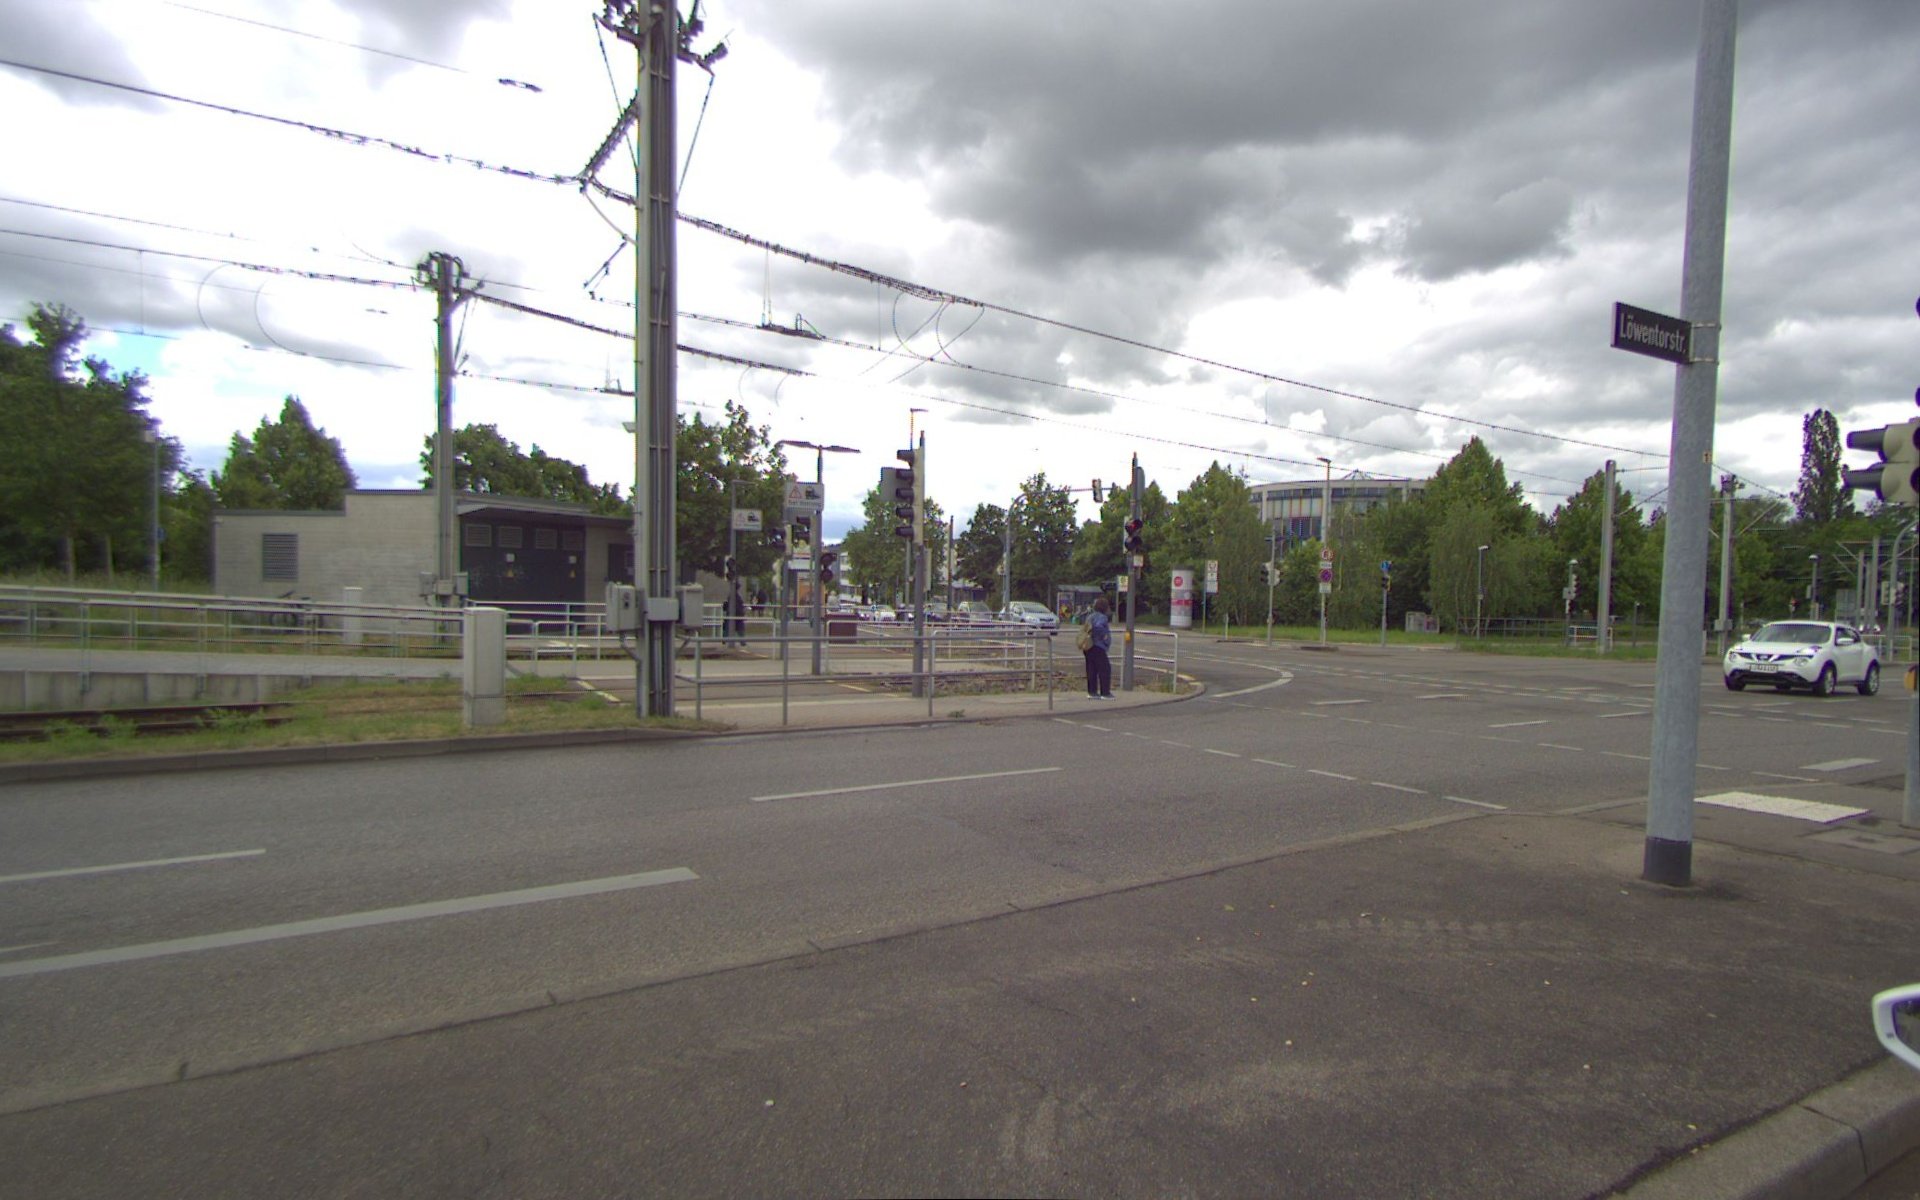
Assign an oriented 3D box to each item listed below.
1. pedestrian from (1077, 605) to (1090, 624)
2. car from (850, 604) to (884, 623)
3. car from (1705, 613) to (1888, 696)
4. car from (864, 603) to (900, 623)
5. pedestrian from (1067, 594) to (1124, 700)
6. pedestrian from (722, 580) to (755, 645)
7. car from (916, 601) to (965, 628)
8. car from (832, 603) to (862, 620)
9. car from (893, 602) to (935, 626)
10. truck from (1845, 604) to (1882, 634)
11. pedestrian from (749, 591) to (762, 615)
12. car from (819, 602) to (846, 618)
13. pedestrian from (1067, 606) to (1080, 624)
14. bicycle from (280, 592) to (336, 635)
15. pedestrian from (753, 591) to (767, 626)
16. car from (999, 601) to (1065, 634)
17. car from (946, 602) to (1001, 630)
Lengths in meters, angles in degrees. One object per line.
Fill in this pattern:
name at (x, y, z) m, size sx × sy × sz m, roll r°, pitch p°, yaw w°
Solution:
pedestrian at (8.801, 1.014, 71.609) m, size 0.652 × 1.322 × 0.780 m, roll 1°, pitch 0°, yaw -16°
car at (-7.415, 1.023, 79.686) m, size 1.706 × 1.456 × 3.991 m, roll 1°, pitch 0°, yaw -20°
car at (18.345, 1.140, 21.978) m, size 4.376 × 1.650 × 1.819 m, roll 1°, pitch -1°, yaw -32°
car at (-5.809, 0.963, 74.783) m, size 1.706 × 1.456 × 3.731 m, roll 1°, pitch 0°, yaw -20°
pedestrian at (2.086, 0.708, 15.441) m, size 0.701 × 1.584 × 0.533 m, roll 1°, pitch 1°, yaw -44°
pedestrian at (-5.638, 0.323, 25.546) m, size 0.695 × 1.628 × 0.655 m, roll 1°, pitch 0°, yaw -21°
car at (-1.146, 0.817, 58.167) m, size 1.706 × 1.456 × 3.731 m, roll 1°, pitch 0°, yaw -20°
car at (-9.765, 0.987, 86.717) m, size 1.706 × 1.456 × 3.731 m, roll 1°, pitch 0°, yaw -20°
car at (-3.000, 0.889, 64.933) m, size 1.706 × 1.456 × 3.731 m, roll 1°, pitch 0°, yaw -20°
truck at (98.298, 2.094, 109.345) m, size 2.086 × 3.176 × 5.884 m, roll 2°, pitch 0°, yaw 33°
pedestrian at (-14.378, 0.209, 70.708) m, size 0.771 × 1.649 × 0.660 m, roll 1°, pitch 0°, yaw -22°
car at (-11.928, 0.963, 94.074) m, size 1.706 × 1.456 × 3.731 m, roll 1°, pitch 0°, yaw -20°
pedestrian at (8.249, 1.079, 72.863) m, size 0.652 × 1.321 × 0.780 m, roll 1°, pitch 0°, yaw -16°
bicycle at (-17.323, 0.346, 26.679) m, size 1.452 × 1.101 × 0.492 m, roll 1°, pitch 0°, yaw 22°
pedestrian at (-11.611, 0.490, 58.445) m, size 0.738 × 1.993 × 0.795 m, roll 1°, pitch 0°, yaw -9°
car at (3.306, 0.800, 46.811) m, size 1.706 × 1.456 × 3.731 m, roll 1°, pitch 0°, yaw -20°
car at (0.693, 0.844, 53.671) m, size 1.706 × 1.456 × 3.731 m, roll 1°, pitch 0°, yaw -20°
